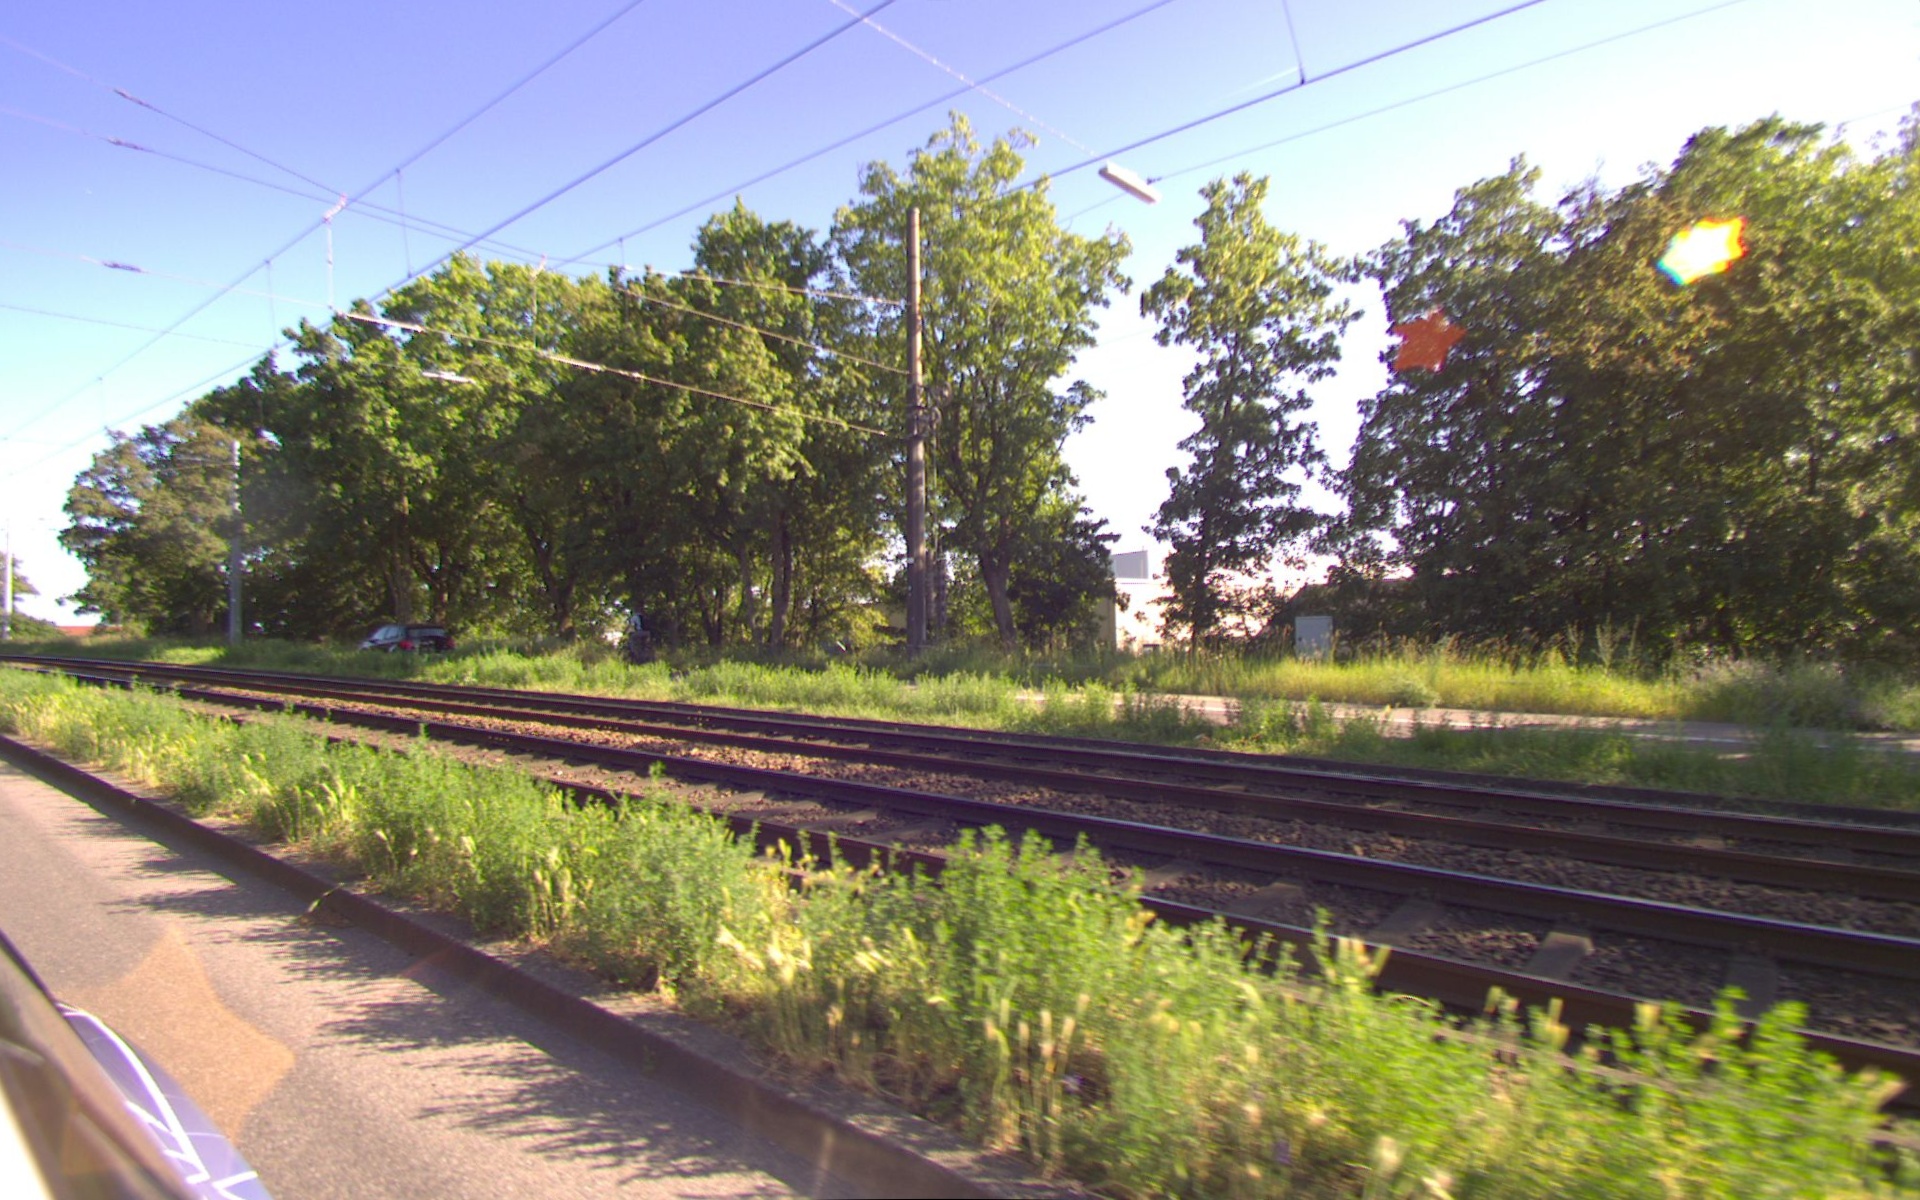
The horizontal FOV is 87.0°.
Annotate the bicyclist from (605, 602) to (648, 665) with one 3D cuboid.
[{"bbox_3d":[-9.450,0.940,28.676,0.901,1.749,0.811,-2,-1,39],"label":"bicyclist"}]

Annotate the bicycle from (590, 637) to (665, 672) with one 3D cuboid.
[{"bbox_3d":[-9.451,1.525,28.678,2.535,0.921,0.810,-1,-1,40],"label":"bicycle"}]

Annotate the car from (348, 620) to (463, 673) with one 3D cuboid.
[{"bbox_3d":[-16.871,1.375,30.726,3.996,1.490,1.693,-1,-1,39],"label":"car"}]
